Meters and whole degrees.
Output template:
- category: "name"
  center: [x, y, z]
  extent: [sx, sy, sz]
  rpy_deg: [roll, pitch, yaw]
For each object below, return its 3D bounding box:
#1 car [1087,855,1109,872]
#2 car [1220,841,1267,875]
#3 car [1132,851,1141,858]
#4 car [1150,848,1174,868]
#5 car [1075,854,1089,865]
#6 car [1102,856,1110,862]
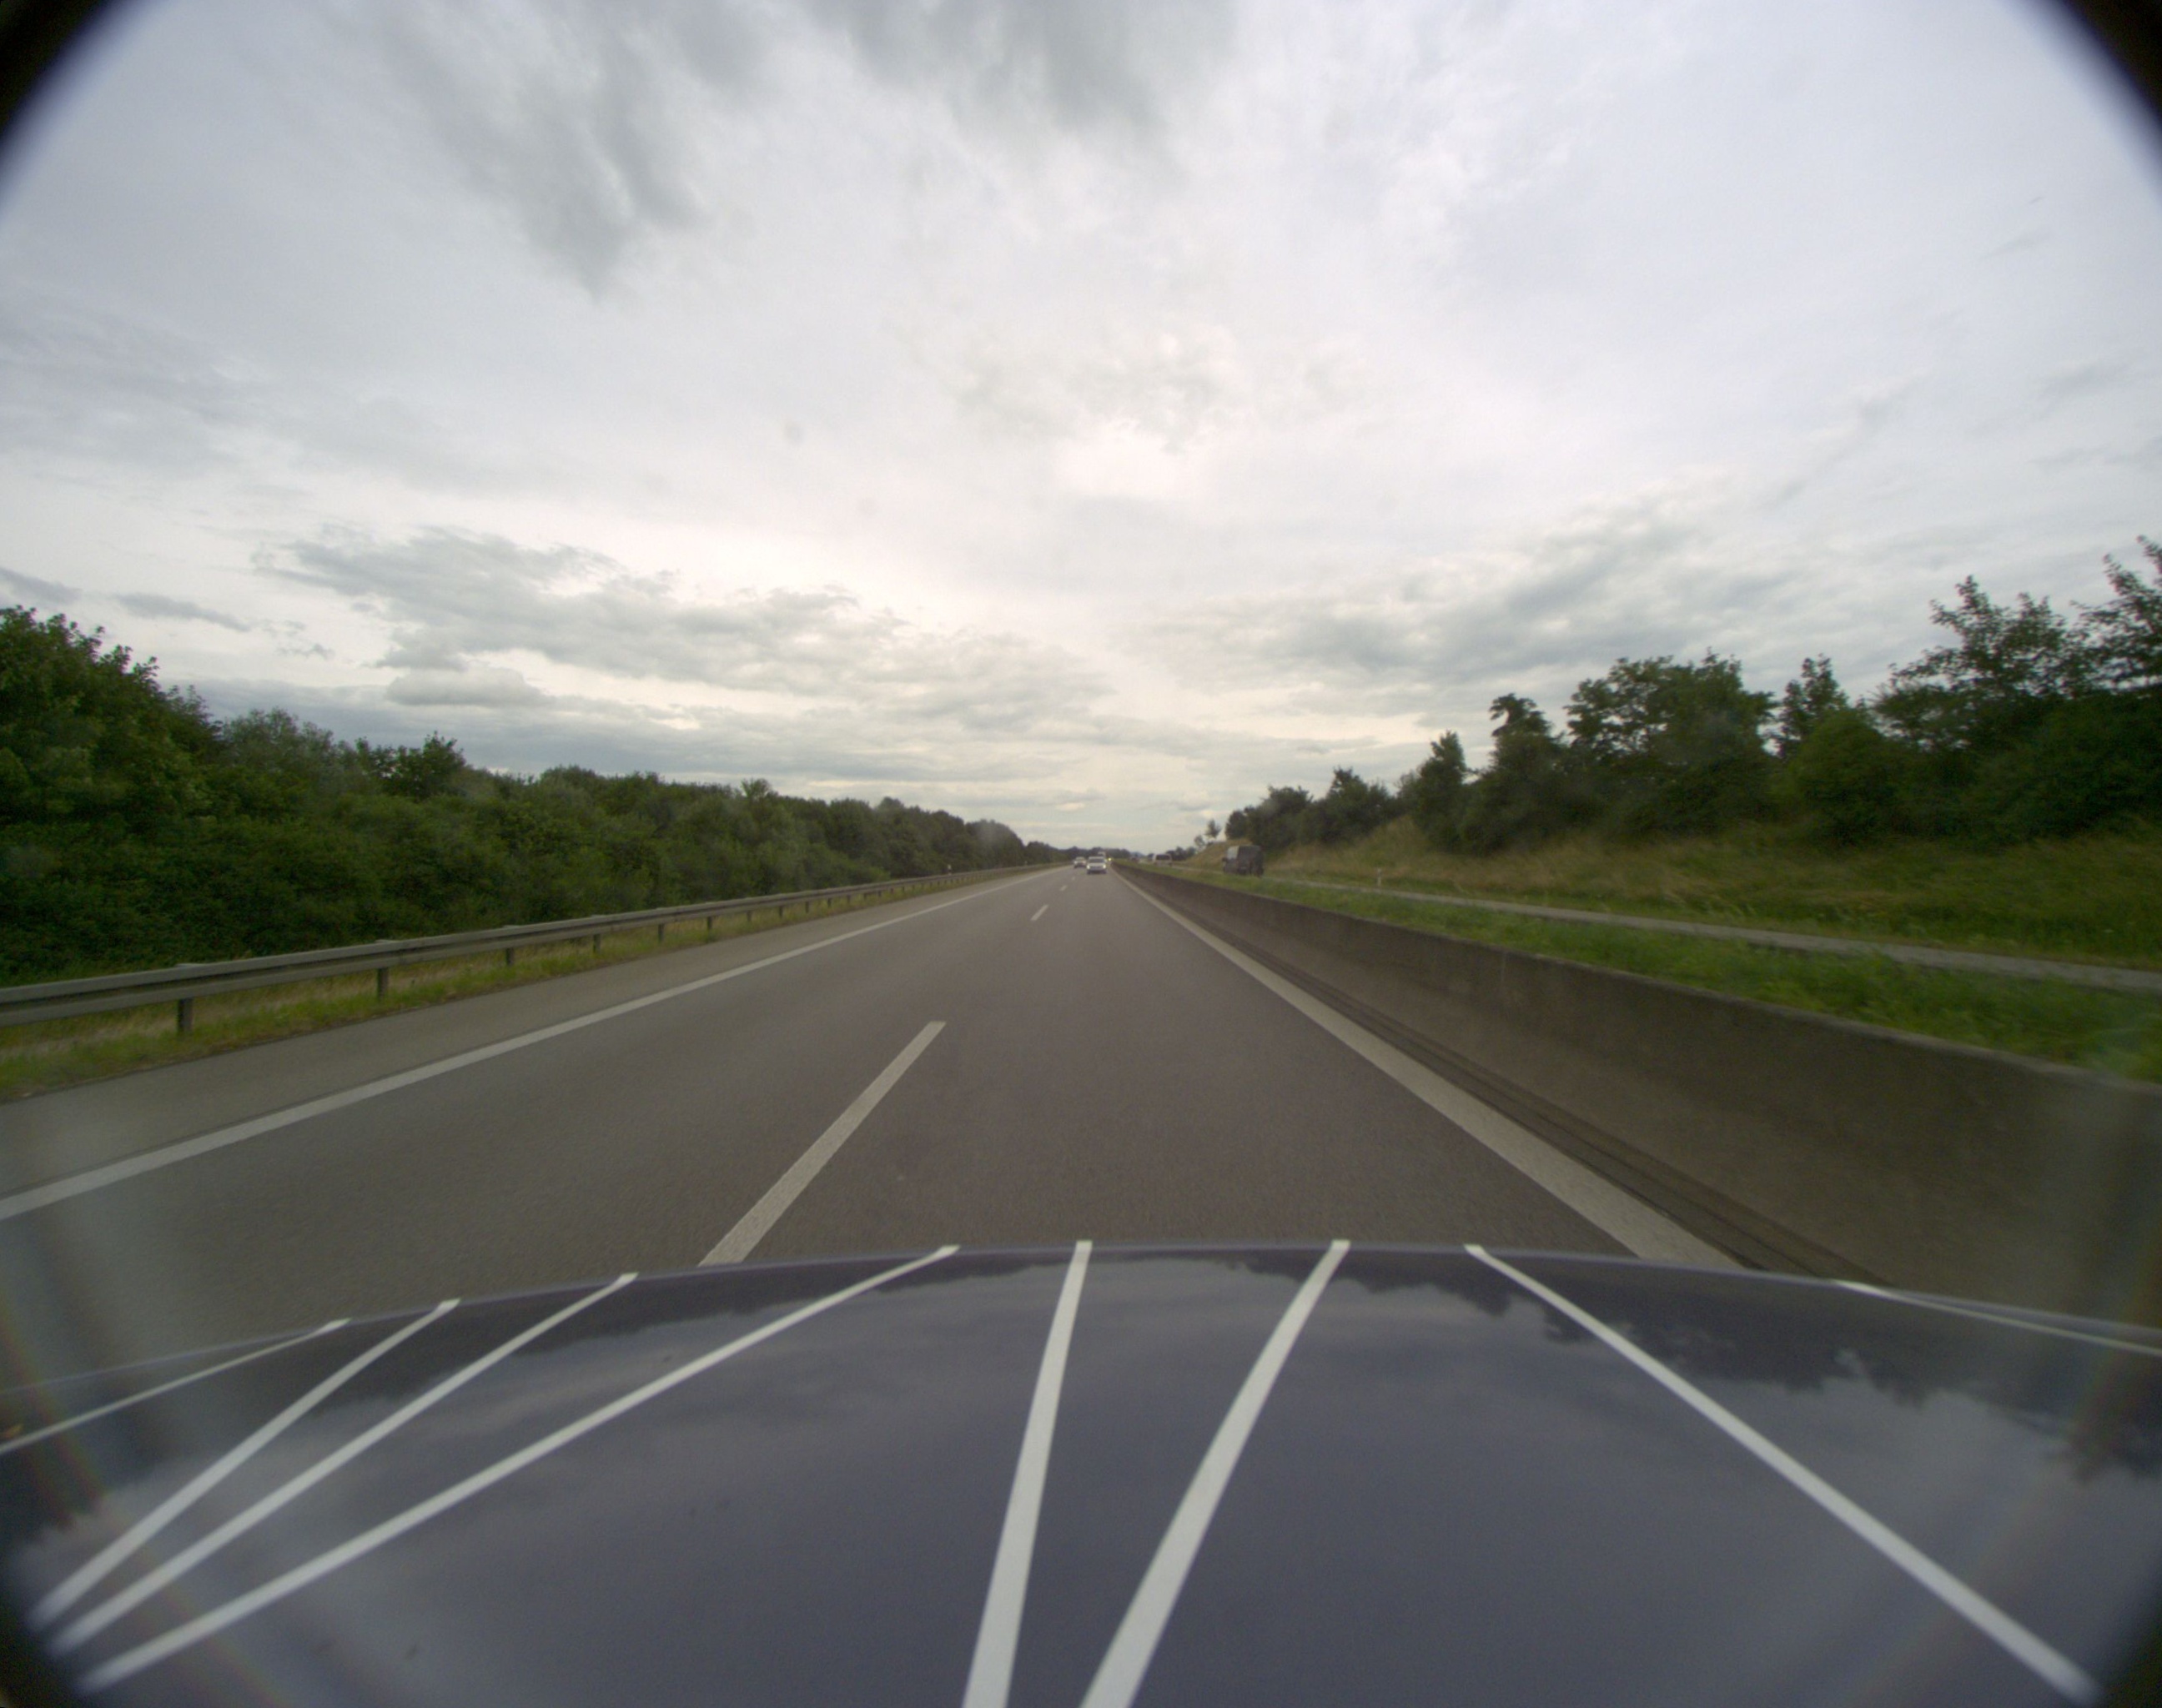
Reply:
- category: "car"
  center: [1.573, 0.871, 71.852]
  extent: [1.916, 1.553, 4.287]
  rpy_deg: [-1, 0, -1]
- category: "car"
  center: [12.324, 0.271, 58.036]
  extent: [2.175, 2.450, 6.723]
  rpy_deg: [1, 0, 1]
- category: "car"
  center: [12.639, 0.068, 173.205]
  extent: [1.924, 1.684, 4.597]
  rpy_deg: [0, 0, 1]
- category: "car"
  center: [8.472, 0.449, 80.176]
  extent: [1.984, 2.002, 5.130]
  rpy_deg: [-1, 0, 1]
- category: "car"
  center: [0.175, 0.826, 117.651]
  extent: [1.915, 1.553, 4.289]
  rpy_deg: [-1, 0, 4]
- category: "car"
  center: [6.574, 1.298, 196.282]
  extent: [1.915, 1.553, 4.289]
  rpy_deg: [-1, 0, 4]
